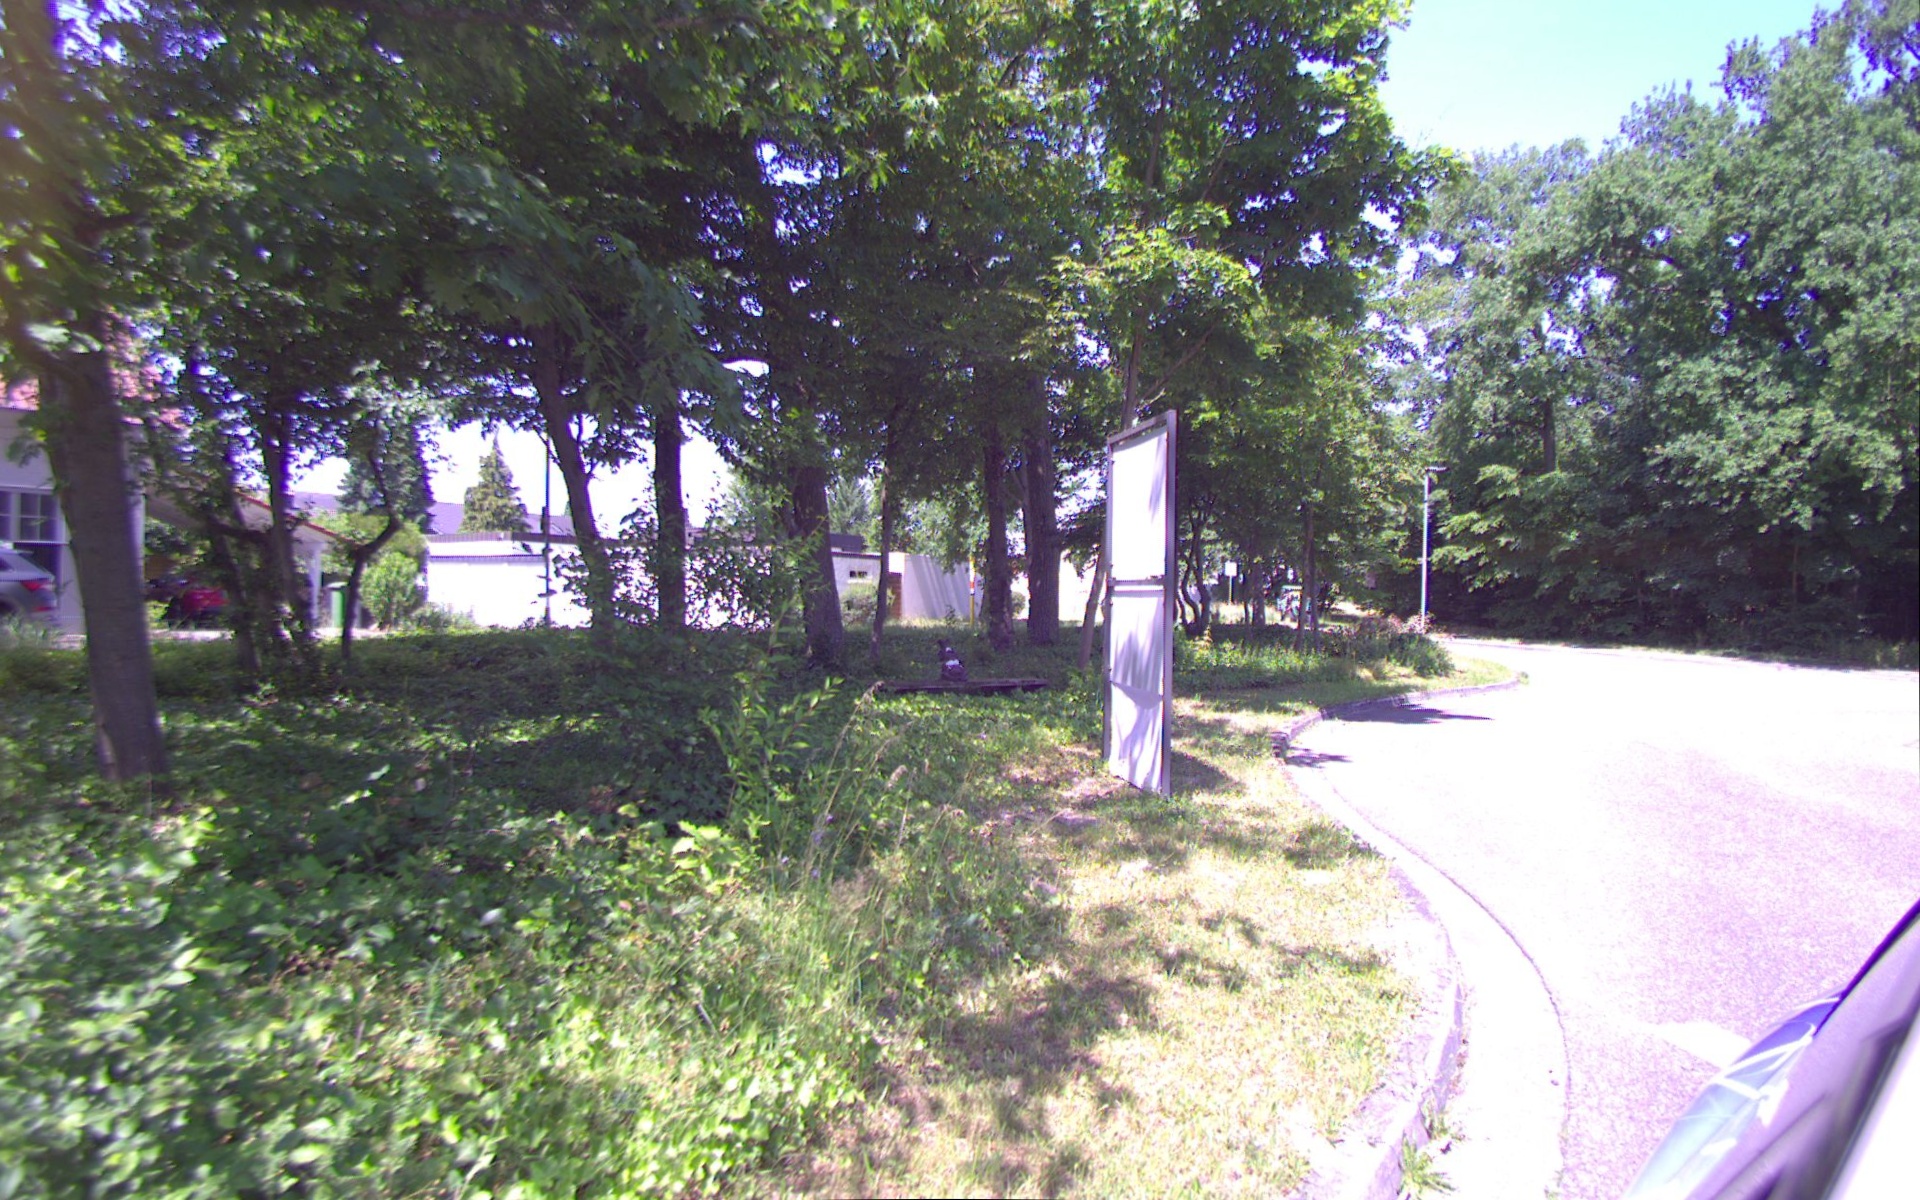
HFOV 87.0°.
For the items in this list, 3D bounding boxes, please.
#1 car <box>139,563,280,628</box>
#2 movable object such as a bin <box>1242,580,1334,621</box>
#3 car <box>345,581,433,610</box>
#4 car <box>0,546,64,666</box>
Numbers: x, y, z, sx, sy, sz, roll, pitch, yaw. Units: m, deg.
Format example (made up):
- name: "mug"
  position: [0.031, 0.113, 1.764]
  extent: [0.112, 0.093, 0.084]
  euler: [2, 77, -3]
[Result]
- name: "car"
  position: [-17.701, -0.127, 23.833]
  extent: [3.672, 1.403, 1.663]
  euler: [2, 0, 36]
- name: "movable object such as a bin"
  position: [19.520, -0.004, 60.544]
  extent: [2.470, 2.305, 5.251]
  euler: [1, 0, -20]
- name: "car"
  position: [-26.430, -0.200, 46.920]
  extent: [1.561, 1.269, 3.241]
  euler: [2, 0, 32]
- name: "car"
  position: [-15.206, 0.065, 13.863]
  extent: [1.653, 1.726, 4.096]
  euler: [1, 0, 32]
